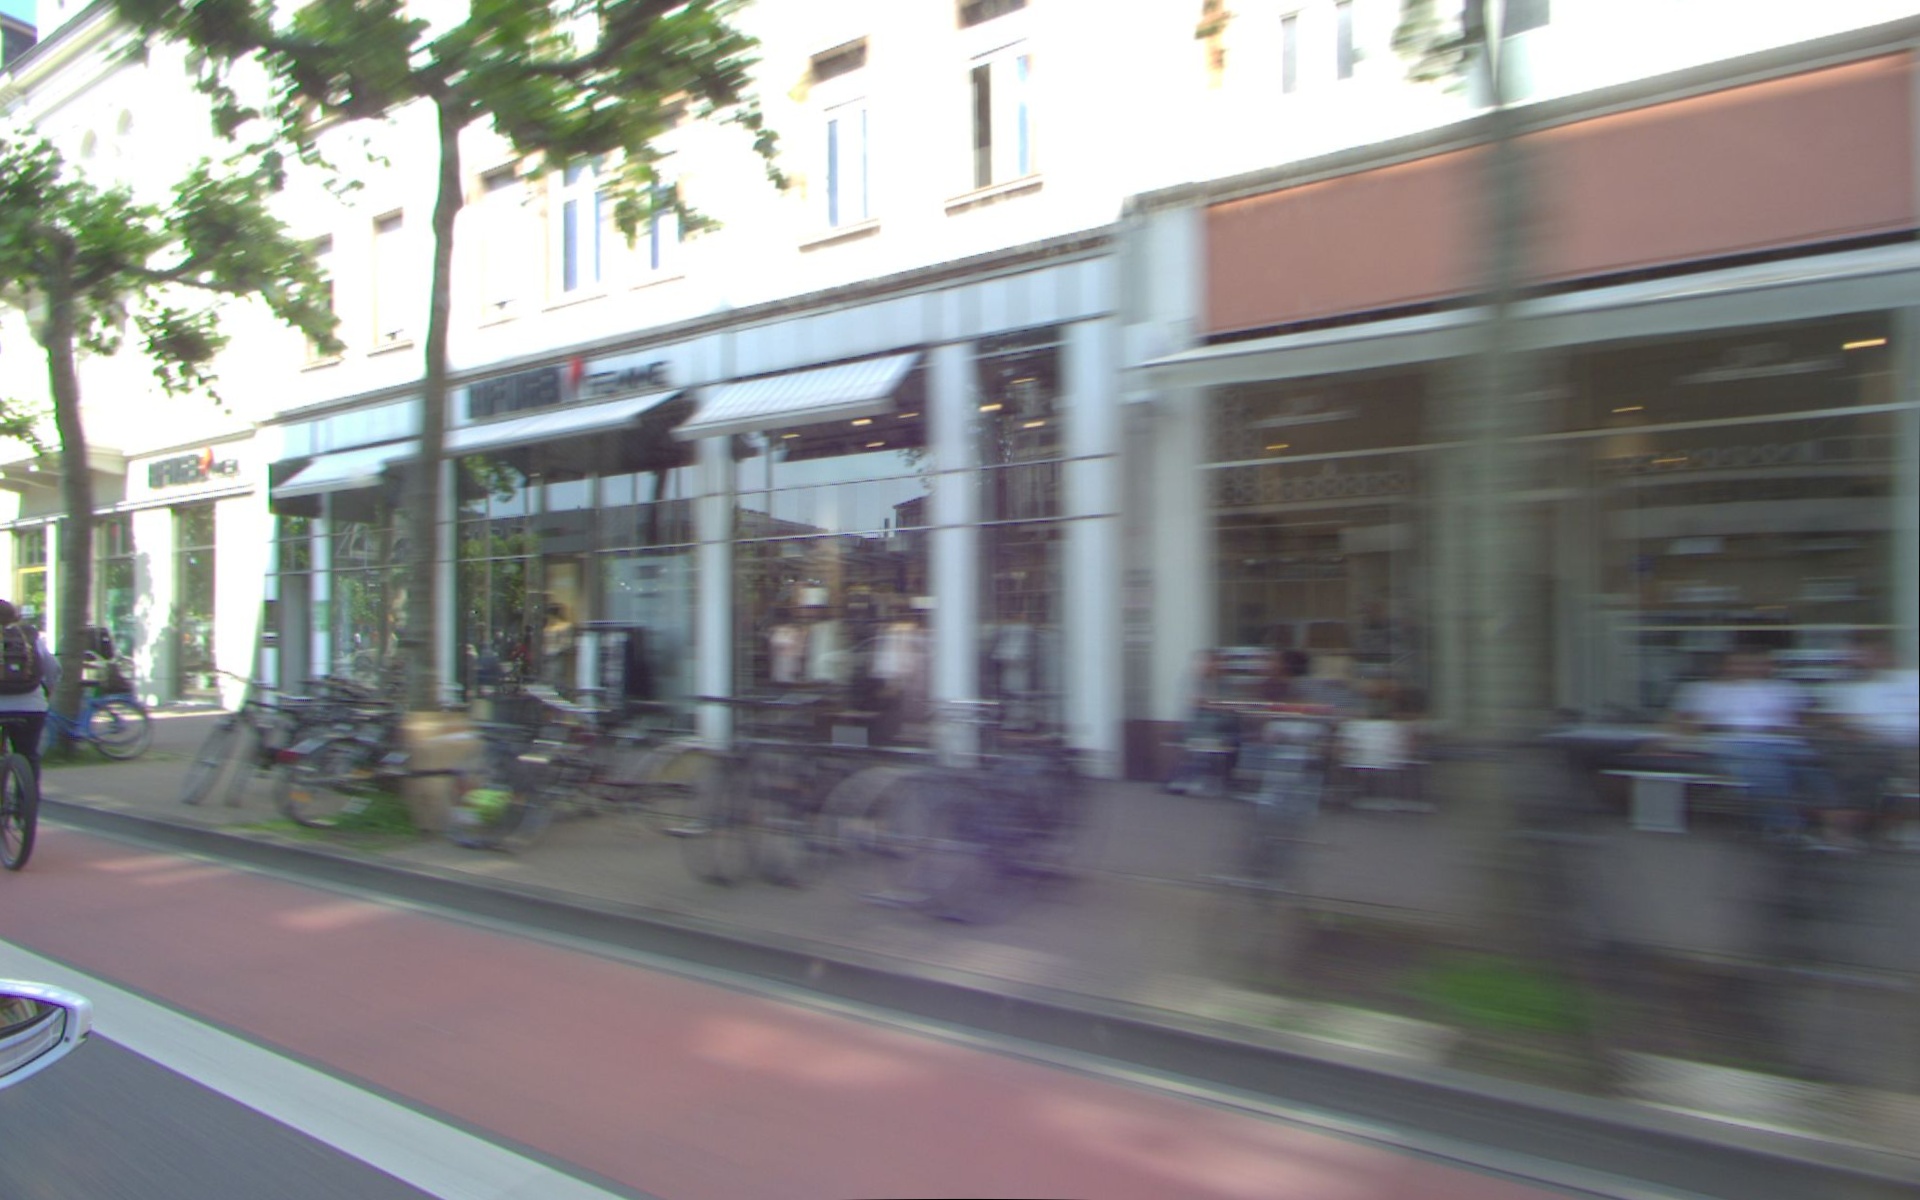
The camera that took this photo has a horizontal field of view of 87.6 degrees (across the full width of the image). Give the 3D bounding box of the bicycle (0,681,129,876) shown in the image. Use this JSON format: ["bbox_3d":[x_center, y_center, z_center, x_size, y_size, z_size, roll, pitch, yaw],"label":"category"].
[{"bbox_3d":[-6.671,1.153,6.877,2.048,1.141,0.698,-1,-3,27],"label":"bicycle"}]

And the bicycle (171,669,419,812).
[{"bbox_3d":[-5.814,1.180,8.898,0.555,1.107,1.844,0,-3,20],"label":"bicycle"}]

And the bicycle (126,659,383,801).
[{"bbox_3d":[-6.286,1.122,9.063,0.621,1.140,1.844,-1,-4,20],"label":"bicycle"}]

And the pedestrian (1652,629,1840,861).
[{"bbox_3d":[5.407,0.931,6.973,0.778,1.440,1.232,-2,-1,28],"label":"pedestrian"}]

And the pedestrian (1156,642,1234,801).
[{"bbox_3d":[2.122,1.059,9.005,0.523,1.350,0.681,0,-1,28],"label":"pedestrian"}]

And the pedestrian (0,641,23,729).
[{"bbox_3d":[-14.184,1.228,14.464,0.567,1.258,0.787,-2,-3,28],"label":"pedestrian"}]

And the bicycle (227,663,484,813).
[{"bbox_3d":[-5.115,1.130,8.647,0.752,1.140,1.845,-1,-4,17],"label":"bicycle"}]

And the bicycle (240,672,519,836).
[{"bbox_3d":[-4.464,1.128,7.859,0.556,1.107,1.839,-1,-3,30],"label":"bicycle"}]

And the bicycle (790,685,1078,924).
[{"bbox_3d":[-0.073,1.063,5.722,0.524,1.140,1.831,-2,-5,42],"label":"bicycle"}]

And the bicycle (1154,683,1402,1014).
[{"bbox_3d":[1.575,1.011,4.728,0.670,1.141,1.837,-2,-2,32],"label":"bicycle"}]

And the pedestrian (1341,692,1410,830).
[{"bbox_3d":[3.158,1.204,7.603,0.431,0.980,0.364,0,-1,32],"label":"pedestrian"}]

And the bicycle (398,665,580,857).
[{"bbox_3d":[-3.303,1.067,7.201,0.582,1.141,1.847,-1,-2,-5],"label":"bicycle"}]

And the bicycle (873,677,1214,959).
[{"bbox_3d":[0.525,1.026,5.352,0.753,1.141,1.975,-2,-3,43],"label":"bicycle"}]

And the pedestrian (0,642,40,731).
[{"bbox_3d":[-13.699,1.231,14.308,0.588,1.248,0.639,-2,-3,28],"label":"pedestrian"}]

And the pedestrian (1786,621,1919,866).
[{"bbox_3d":[6.216,0.902,6.677,0.824,1.502,1.251,-1,-2,28],"label":"pedestrian"}]

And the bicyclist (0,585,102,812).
[{"bbox_3d":[-6.547,0.654,6.831,0.946,1.463,0.698,-1,-3,27],"label":"bicyclist"}]

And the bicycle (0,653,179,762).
[{"bbox_3d":[-10.043,1.191,11.333,0.489,1.140,1.843,1,-3,22],"label":"bicycle"}]

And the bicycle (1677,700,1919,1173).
[{"bbox_3d":[2.991,0.981,3.486,0.657,1.141,1.837,-1,-2,32],"label":"bicycle"}]

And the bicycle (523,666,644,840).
[{"bbox_3d":[-2.886,1.115,7.821,0.439,1.141,1.846,-1,-2,-7],"label":"bicycle"}]

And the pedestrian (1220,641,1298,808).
[{"bbox_3d":[2.588,1.039,8.636,0.523,1.355,0.681,0,-1,28],"label":"pedestrian"}]

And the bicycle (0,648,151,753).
[{"bbox_3d":[-11.215,1.218,12.583,0.566,1.212,1.782,0,-2,3],"label":"bicycle"}]

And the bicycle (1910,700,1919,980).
[{"bbox_3d":[3.742,0.952,3.187,0.657,1.141,1.837,-1,-2,32],"label":"bicycle"}]

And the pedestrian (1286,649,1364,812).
[{"bbox_3d":[3.064,1.058,8.388,0.523,1.270,0.680,0,0,28],"label":"pedestrian"}]

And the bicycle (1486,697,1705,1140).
[{"bbox_3d":[2.361,0.992,3.768,0.522,1.141,1.837,-2,-2,32],"label":"bicycle"}]

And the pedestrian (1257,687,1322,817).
[{"bbox_3d":[2.644,1.203,8.026,0.431,0.980,0.340,0,-1,32],"label":"pedestrian"}]

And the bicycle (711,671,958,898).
[{"bbox_3d":[-0.702,1.040,6.211,0.442,1.141,1.836,-2,-2,33],"label":"bicycle"}]

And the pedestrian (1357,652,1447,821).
[{"bbox_3d":[3.578,1.070,8.099,0.599,1.269,0.638,-2,0,28],"label":"pedestrian"}]

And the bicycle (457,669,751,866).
[{"bbox_3d":[-2.372,1.065,6.786,1.821,1.141,0.446,0,-2,-32],"label":"bicycle"}]

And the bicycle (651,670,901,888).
[{"bbox_3d":[-1.101,1.048,6.425,0.442,1.141,1.836,-2,-2,33],"label":"bicycle"}]
